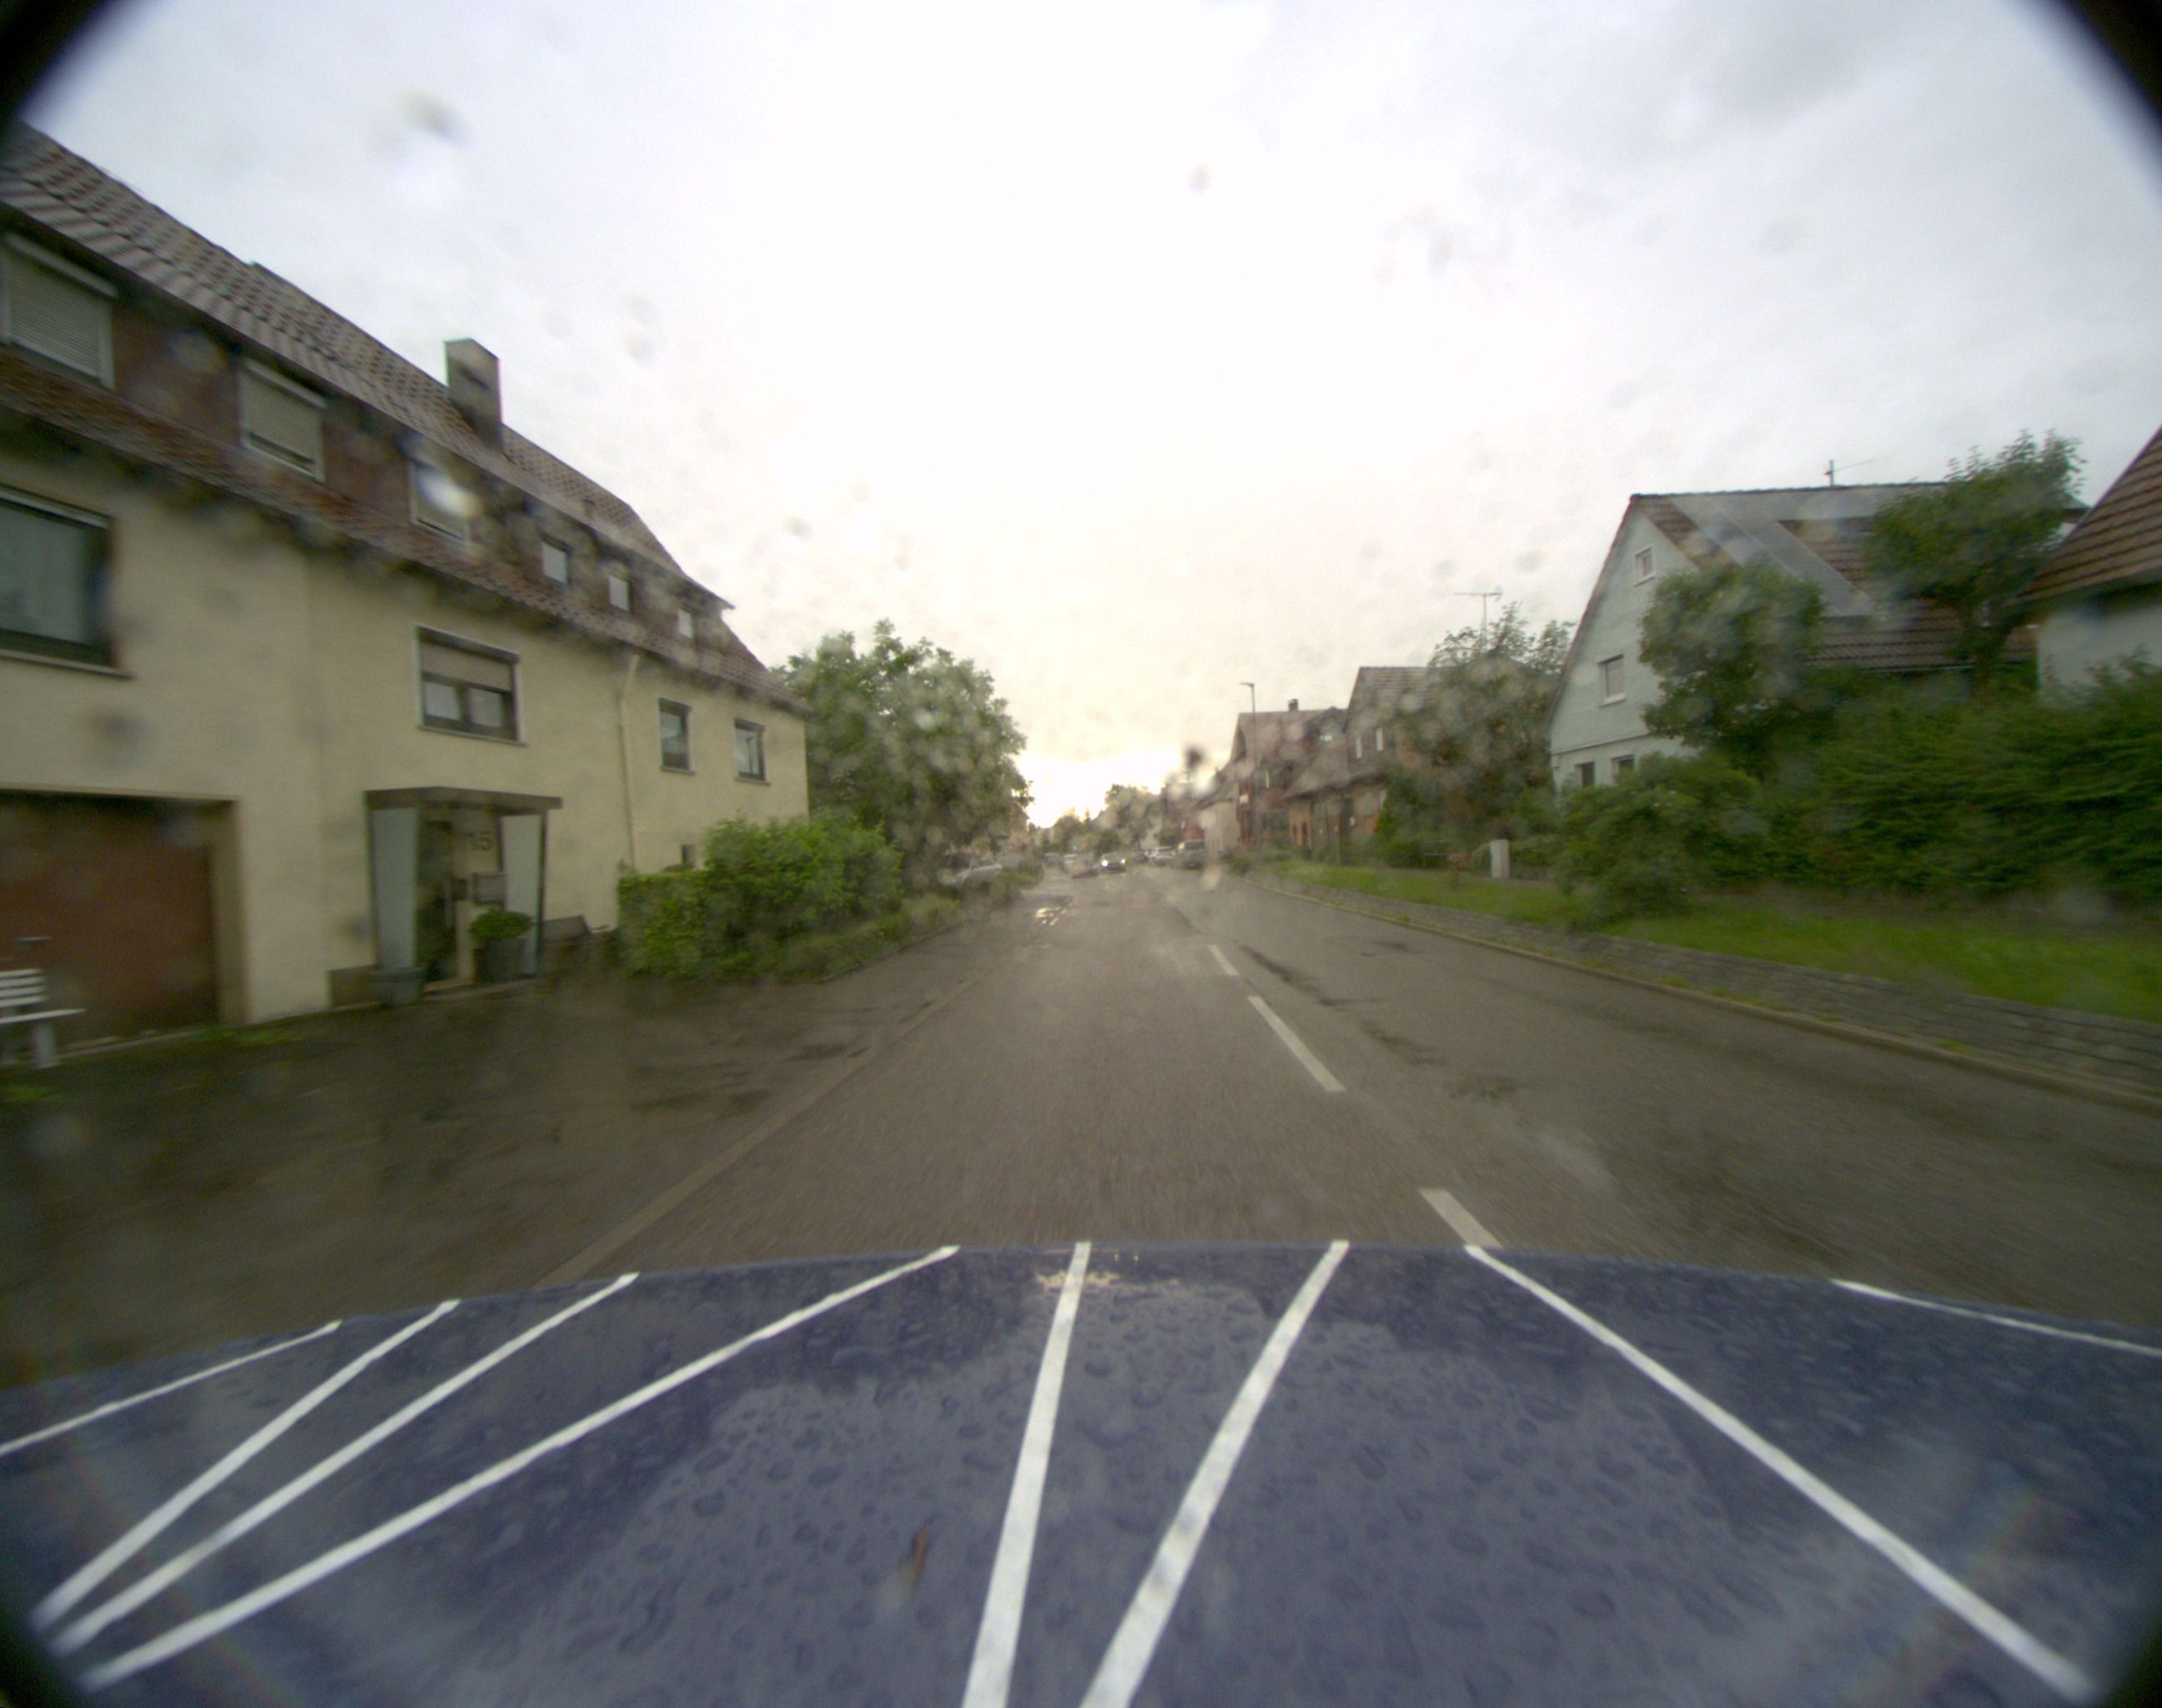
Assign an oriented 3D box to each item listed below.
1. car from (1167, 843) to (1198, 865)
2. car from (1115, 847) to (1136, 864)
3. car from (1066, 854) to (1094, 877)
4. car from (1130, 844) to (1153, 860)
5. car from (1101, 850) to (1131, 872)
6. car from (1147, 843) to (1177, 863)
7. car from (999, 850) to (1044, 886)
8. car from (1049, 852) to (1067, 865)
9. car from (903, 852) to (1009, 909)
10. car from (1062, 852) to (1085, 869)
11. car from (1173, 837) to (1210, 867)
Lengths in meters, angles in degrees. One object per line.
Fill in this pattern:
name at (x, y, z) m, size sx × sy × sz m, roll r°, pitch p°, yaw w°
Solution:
car at (7.794, 0.016, 58.605) m, size 1.812 × 1.565 × 3.664 m, roll -3°, pitch 0°, yaw -1°
car at (4.518, 0.119, 78.221) m, size 1.812 × 1.565 × 3.999 m, roll -3°, pitch 0°, yaw -1°
car at (-0.106, 0.776, 53.104) m, size 1.788 × 1.455 × 3.999 m, roll -3°, pitch 0°, yaw -1°
car at (6.560, -0.197, 82.792) m, size 1.812 × 1.612 × 3.998 m, roll -3°, pitch 0°, yaw -6°
car at (2.711, 0.536, 60.026) m, size 1.999 × 1.521 × 3.999 m, roll -4°, pitch 0°, yaw -1°
car at (7.221, -0.078, 68.036) m, size 1.812 × 1.612 × 3.998 m, roll -3°, pitch 0°, yaw -6°
car at (-3.120, 0.680, 40.405) m, size 1.999 × 1.721 × 4.069 m, roll -3°, pitch 0°, yaw 0°
car at (-2.901, 0.543, 95.397) m, size 1.999 × 1.521 × 3.998 m, roll -5°, pitch 0°, yaw -4°
car at (-4.318, 0.868, 26.984) m, size 1.910 × 1.701 × 4.484 m, roll -3°, pitch 0°, yaw 16°
car at (-0.722, 0.571, 70.478) m, size 1.999 × 1.521 × 3.999 m, roll -2°, pitch 0°, yaw -2°
car at (7.757, -0.156, 53.621) m, size 1.846 × 1.912 × 4.189 m, roll -5°, pitch 0°, yaw -1°
